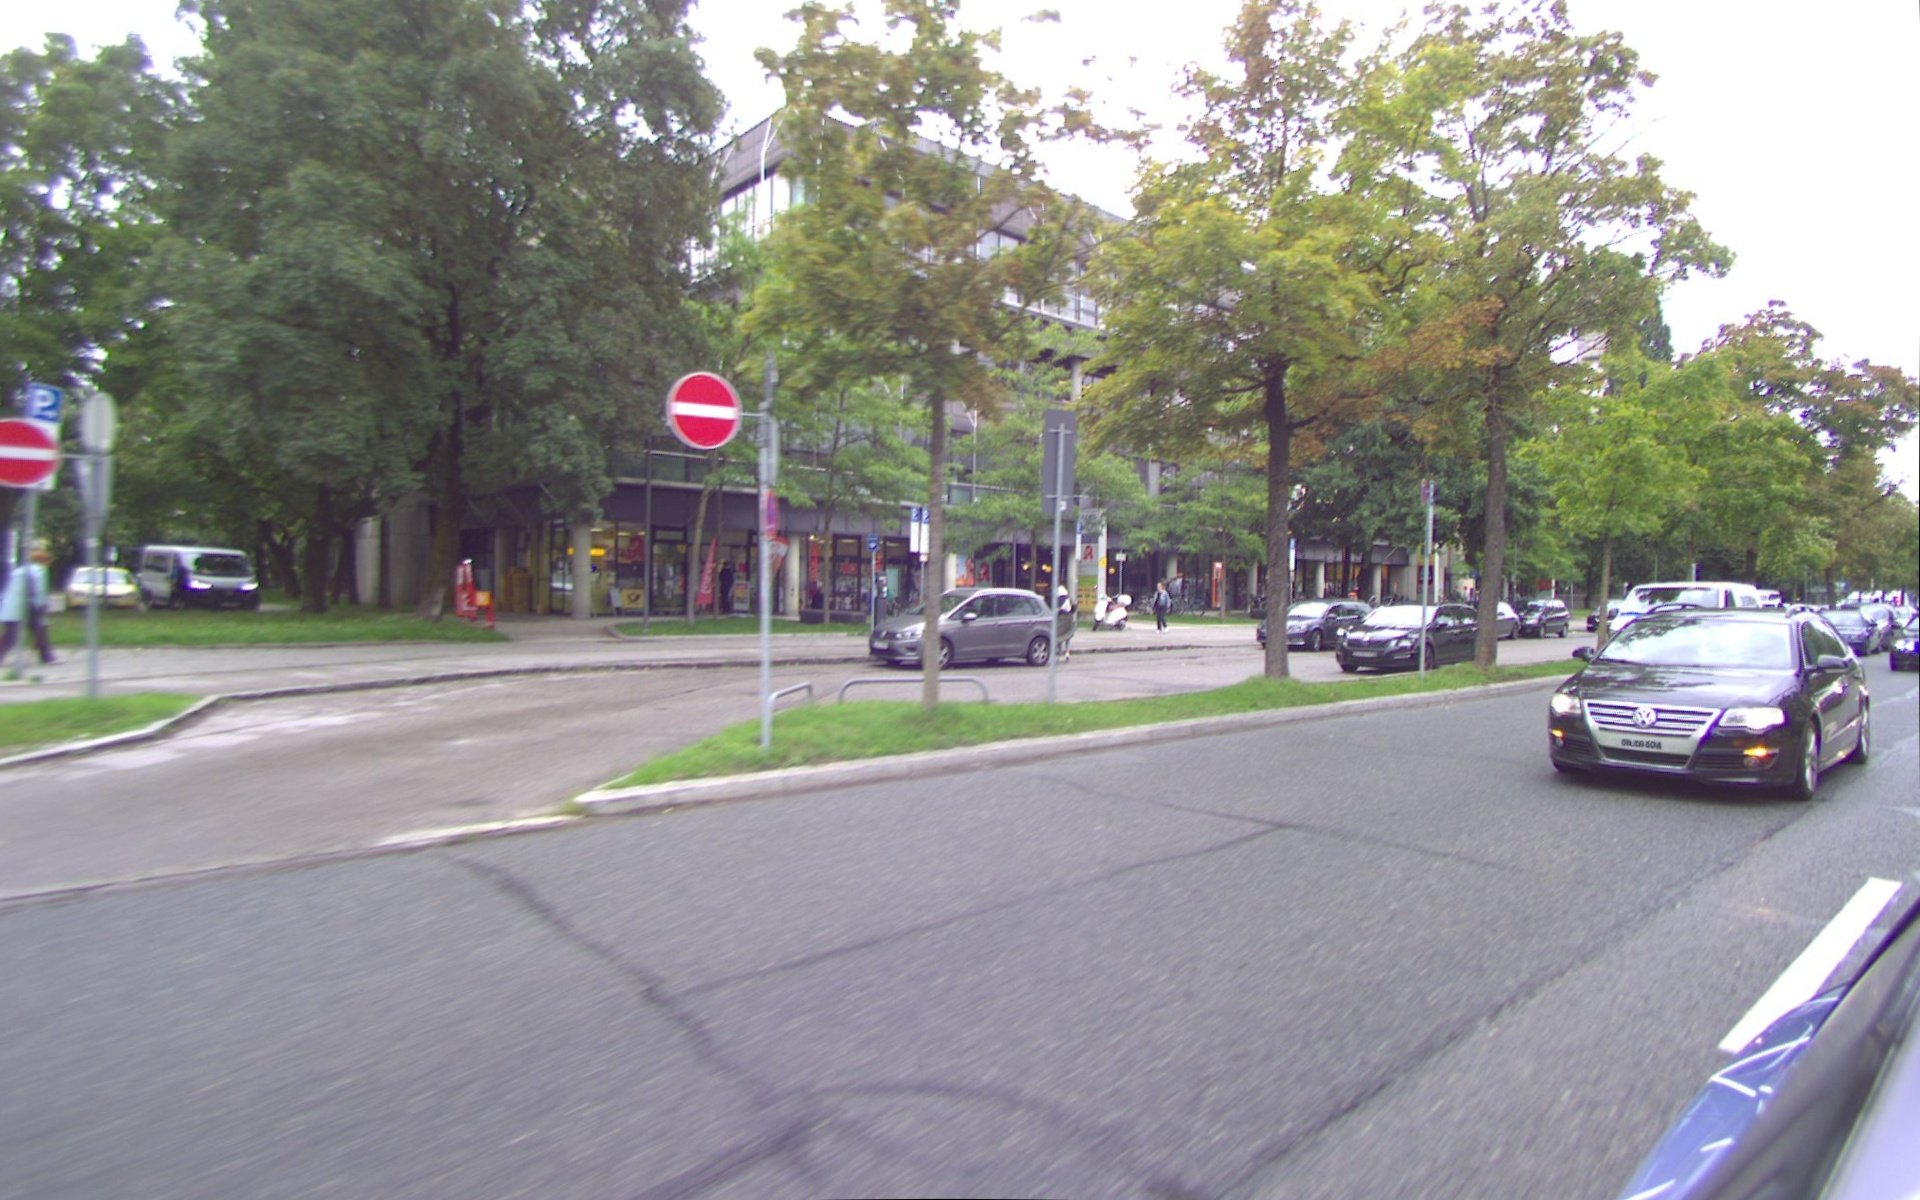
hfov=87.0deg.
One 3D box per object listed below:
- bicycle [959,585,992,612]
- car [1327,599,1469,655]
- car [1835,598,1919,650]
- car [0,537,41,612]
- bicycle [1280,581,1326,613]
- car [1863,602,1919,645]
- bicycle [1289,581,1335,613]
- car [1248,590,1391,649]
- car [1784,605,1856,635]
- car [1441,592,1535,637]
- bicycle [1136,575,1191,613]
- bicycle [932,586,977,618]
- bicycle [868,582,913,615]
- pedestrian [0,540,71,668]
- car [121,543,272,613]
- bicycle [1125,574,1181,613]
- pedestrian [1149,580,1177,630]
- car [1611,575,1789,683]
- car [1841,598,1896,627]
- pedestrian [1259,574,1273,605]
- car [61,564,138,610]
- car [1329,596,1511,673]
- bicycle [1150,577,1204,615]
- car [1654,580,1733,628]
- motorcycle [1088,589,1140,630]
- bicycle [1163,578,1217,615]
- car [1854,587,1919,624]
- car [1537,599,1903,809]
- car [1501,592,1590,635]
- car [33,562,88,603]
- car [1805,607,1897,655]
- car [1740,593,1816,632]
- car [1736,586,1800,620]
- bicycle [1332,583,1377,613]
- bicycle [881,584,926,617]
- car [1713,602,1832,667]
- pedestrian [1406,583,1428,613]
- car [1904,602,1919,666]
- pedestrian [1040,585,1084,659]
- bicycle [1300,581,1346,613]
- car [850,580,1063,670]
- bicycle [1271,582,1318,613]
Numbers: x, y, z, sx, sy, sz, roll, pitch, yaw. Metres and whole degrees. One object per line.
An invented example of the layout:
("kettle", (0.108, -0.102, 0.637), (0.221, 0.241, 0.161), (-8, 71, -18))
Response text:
("bicycle", (0.658, -0.067, 43.204), (1.529, 1.134, 0.454), (0, 1, -45))
("car", (11.921, 0.679, 27.438), (4.273, 1.397, 1.726), (0, 0, -39))
("car", (31.629, 0.809, 34.768), (4.386, 1.663, 1.684), (0, -2, -41))
("car", (-28.085, -0.793, 28.986), (2.303, 2.024, 6.105), (1, 2, -39))
("bicycle", (18.097, -0.148, 53.434), (0.638, 1.643, 2.312), (1, 1, -40))
("car", (35.685, 0.857, 38.200), (4.385, 1.542, 1.685), (0, -2, -40))
("bicycle", (18.785, -0.153, 53.993), (0.638, 1.643, 2.312), (1, 1, -40))
("car", (10.600, 0.544, 29.706), (4.518, 1.550, 1.826), (0, 2, -39))
("car", (41.488, 0.948, 48.782), (4.355, 1.363, 1.826), (0, -1, -38))
("car", (20.043, 0.550, 38.332), (4.526, 1.550, 1.823), (1, 1, -45))
("bicycle", (9.012, -0.279, 44.823), (2.299, 1.643, 0.641), (1, 0, 34))
("bicycle", (-0.207, 0.046, 37.444), (0.447, 1.134, 2.079), (1, 1, -40))
("bicycle", (-2.471, -0.056, 35.951), (0.447, 1.134, 2.079), (1, 1, -40))
("pedestrian", (-12.164, 0.048, 13.117), (0.573, 1.594, 0.777), (0, 0, 18))
("car", (-25.148, -0.773, 33.247), (6.075, 2.078, 2.315), (2, 1, 36))
("bicycle", (8.405, -0.296, 44.131), (2.299, 1.643, 0.641), (1, 0, 34))
("pedestrian", (6.544, 0.158, 32.633), (0.656, 1.561, 0.624), (4, 3, 35))
("car", (15.133, 0.537, 20.593), (4.846, 1.952, 1.884), (0, -1, -41))
("car", (50.900, 0.709, 56.684), (3.983, 1.562, 1.825), (0, -1, -41))
("pedestrian", (18.499, -0.631, 61.141), (0.720, 1.827, 0.664), (3, 2, 17))
("car", (-25.289, -0.397, 29.719), (1.558, 1.216, 3.743), (2, 1, -43))
("car", (9.782, 0.659, 21.371), (4.609, 1.450, 1.731), (0, 0, -41))
("bicycle", (9.787, -0.179, 45.671), (2.299, 1.643, 0.641), (1, 0, 34))
("car", (40.951, 0.198, 56.454), (5.754, 2.560, 2.267), (0, 1, -40))
("motorcycle", (4.952, 0.287, 32.399), (1.914, 1.245, 0.473), (0, 4, -41))
("bicycle", (10.487, -0.188, 46.203), (2.299, 1.643, 0.641), (1, 0, 34))
("car", (70.119, 0.404, 75.879), (5.879, 2.691, 1.983), (0, -1, -20))
("car", (6.980, 0.735, 9.114), (4.364, 1.451, 1.734), (0, -1, -41))
("car", (24.135, 0.527, 41.648), (4.422, 1.654, 1.825), (0, 2, -41))
("car", (-37.838, -0.750, 42.561), (1.559, 1.558, 3.741), (2, 1, -44))
("car", (27.451, 0.900, 31.146), (4.011, 1.393, 1.684), (0, -1, -42))
("car", (35.190, 0.530, 43.491), (4.791, 1.611, 1.824), (0, -1, -42))
("car", (54.095, 0.204, 67.703), (5.754, 2.130, 2.267), (0, 1, -40))
("bicycle", (22.330, -0.115, 57.274), (2.299, 1.643, 0.641), (1, 0, 34))
("bicycle", (-2.047, 0.000, 36.540), (0.447, 1.134, 2.079), (1, 1, -40))
("car", (20.007, 0.785, 24.857), (3.973, 1.467, 1.698), (0, -1, -43))
("pedestrian", (27.012, -0.143, 59.801), (0.856, 1.719, 0.772), (0, 2, -26))
("car", (23.734, 0.777, 23.852), (4.385, 1.431, 1.761), (0, -1, -42))
("pedestrian", (2.292, 0.492, 22.800), (0.738, 1.614, 0.660), (1, 1, -22))
("bicycle", (19.512, -0.172, 54.510), (0.638, 1.643, 2.312), (1, 1, -40))
("car", (-0.007, 0.460, 20.836), (4.121, 1.654, 1.827), (0, 1, -38))
("bicycle", (17.337, -0.144, 52.564), (0.638, 1.551, 2.312), (1, 1, -40))
